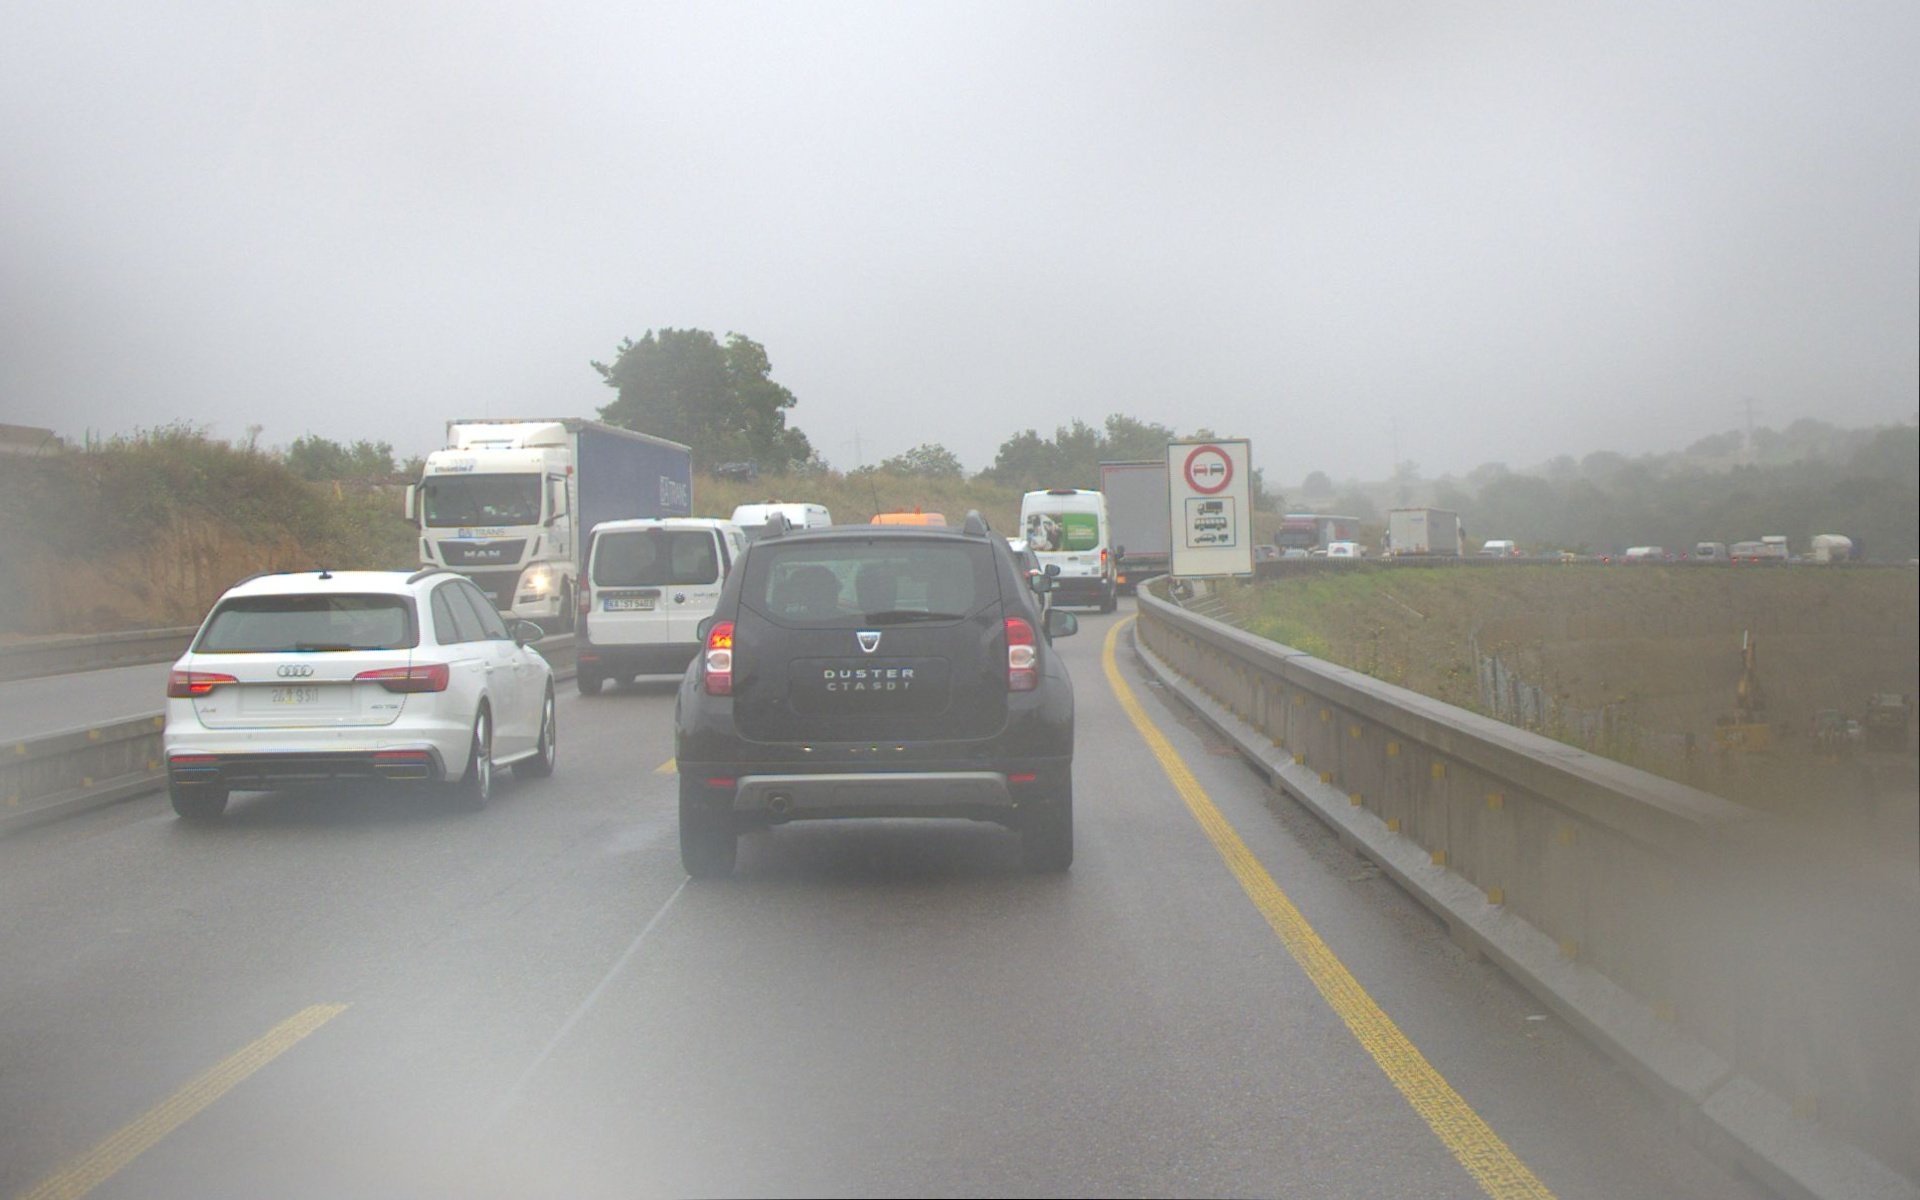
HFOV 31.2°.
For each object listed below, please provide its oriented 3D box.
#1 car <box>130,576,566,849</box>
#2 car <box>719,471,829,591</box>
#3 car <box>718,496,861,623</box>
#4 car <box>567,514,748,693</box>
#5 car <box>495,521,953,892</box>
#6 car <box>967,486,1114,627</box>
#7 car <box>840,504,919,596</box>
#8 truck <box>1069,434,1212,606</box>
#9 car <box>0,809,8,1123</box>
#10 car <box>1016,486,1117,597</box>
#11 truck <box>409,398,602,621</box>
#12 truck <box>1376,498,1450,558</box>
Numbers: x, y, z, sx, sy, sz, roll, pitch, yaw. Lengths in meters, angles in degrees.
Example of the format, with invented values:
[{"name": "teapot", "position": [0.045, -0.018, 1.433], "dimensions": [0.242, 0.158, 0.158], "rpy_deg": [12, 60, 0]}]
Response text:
[{"name": "car", "position": [-3.604, 0.610, 20.939], "dimensions": [1.826, 1.494, 4.000], "rpy_deg": [0, 0, 2]}, {"name": "car", "position": [-4.256, -1.629, 79.676], "dimensions": [2.006, 2.644, 6.884], "rpy_deg": [0, 2, 1]}, {"name": "car", "position": [-2.505, -0.594, 51.417], "dimensions": [1.826, 1.809, 4.000], "rpy_deg": [0, 0, 1]}, {"name": "car", "position": [-3.218, 0.028, 37.107], "dimensions": [1.826, 1.809, 4.000], "rpy_deg": [0, 0, -4]}, {"name": "car", "position": [-1.019, 0.450, 16.772], "dimensions": [1.826, 1.585, 4.000], "rpy_deg": [0, 0, 2]}, {"name": "car", "position": [1.123, -0.572, 46.447], "dimensions": [1.826, 1.809, 4.000], "rpy_deg": [0, 0, 3]}, {"name": "car", "position": [-2.316, -1.484, 100.480], "dimensions": [2.054, 2.568, 7.021], "rpy_deg": [0, 1, 0]}, {"name": "truck", "position": [5.713, -2.382, 106.804], "dimensions": [3.545, 5.060, 10.438], "rpy_deg": [0, 0, 8]}, {"name": "car", "position": [-3.310, 0.735, 5.985], "dimensions": [1.735, 1.457, 5.630], "rpy_deg": [-1, 2, 0]}, {"name": "car", "position": [2.437, -1.300, 77.580], "dimensions": [1.827, 2.429, 4.156], "rpy_deg": [0, 0, 8]}, {"name": "truck", "position": [-8.542, -1.731, 65.248], "dimensions": [2.788, 4.021, 5.820], "rpy_deg": [0, 2, 1]}, {"name": "truck", "position": [29.541, -4.718, 223.894], "dimensions": [3.475, 3.702, 8.411], "rpy_deg": [-1, 1, 16]}]
